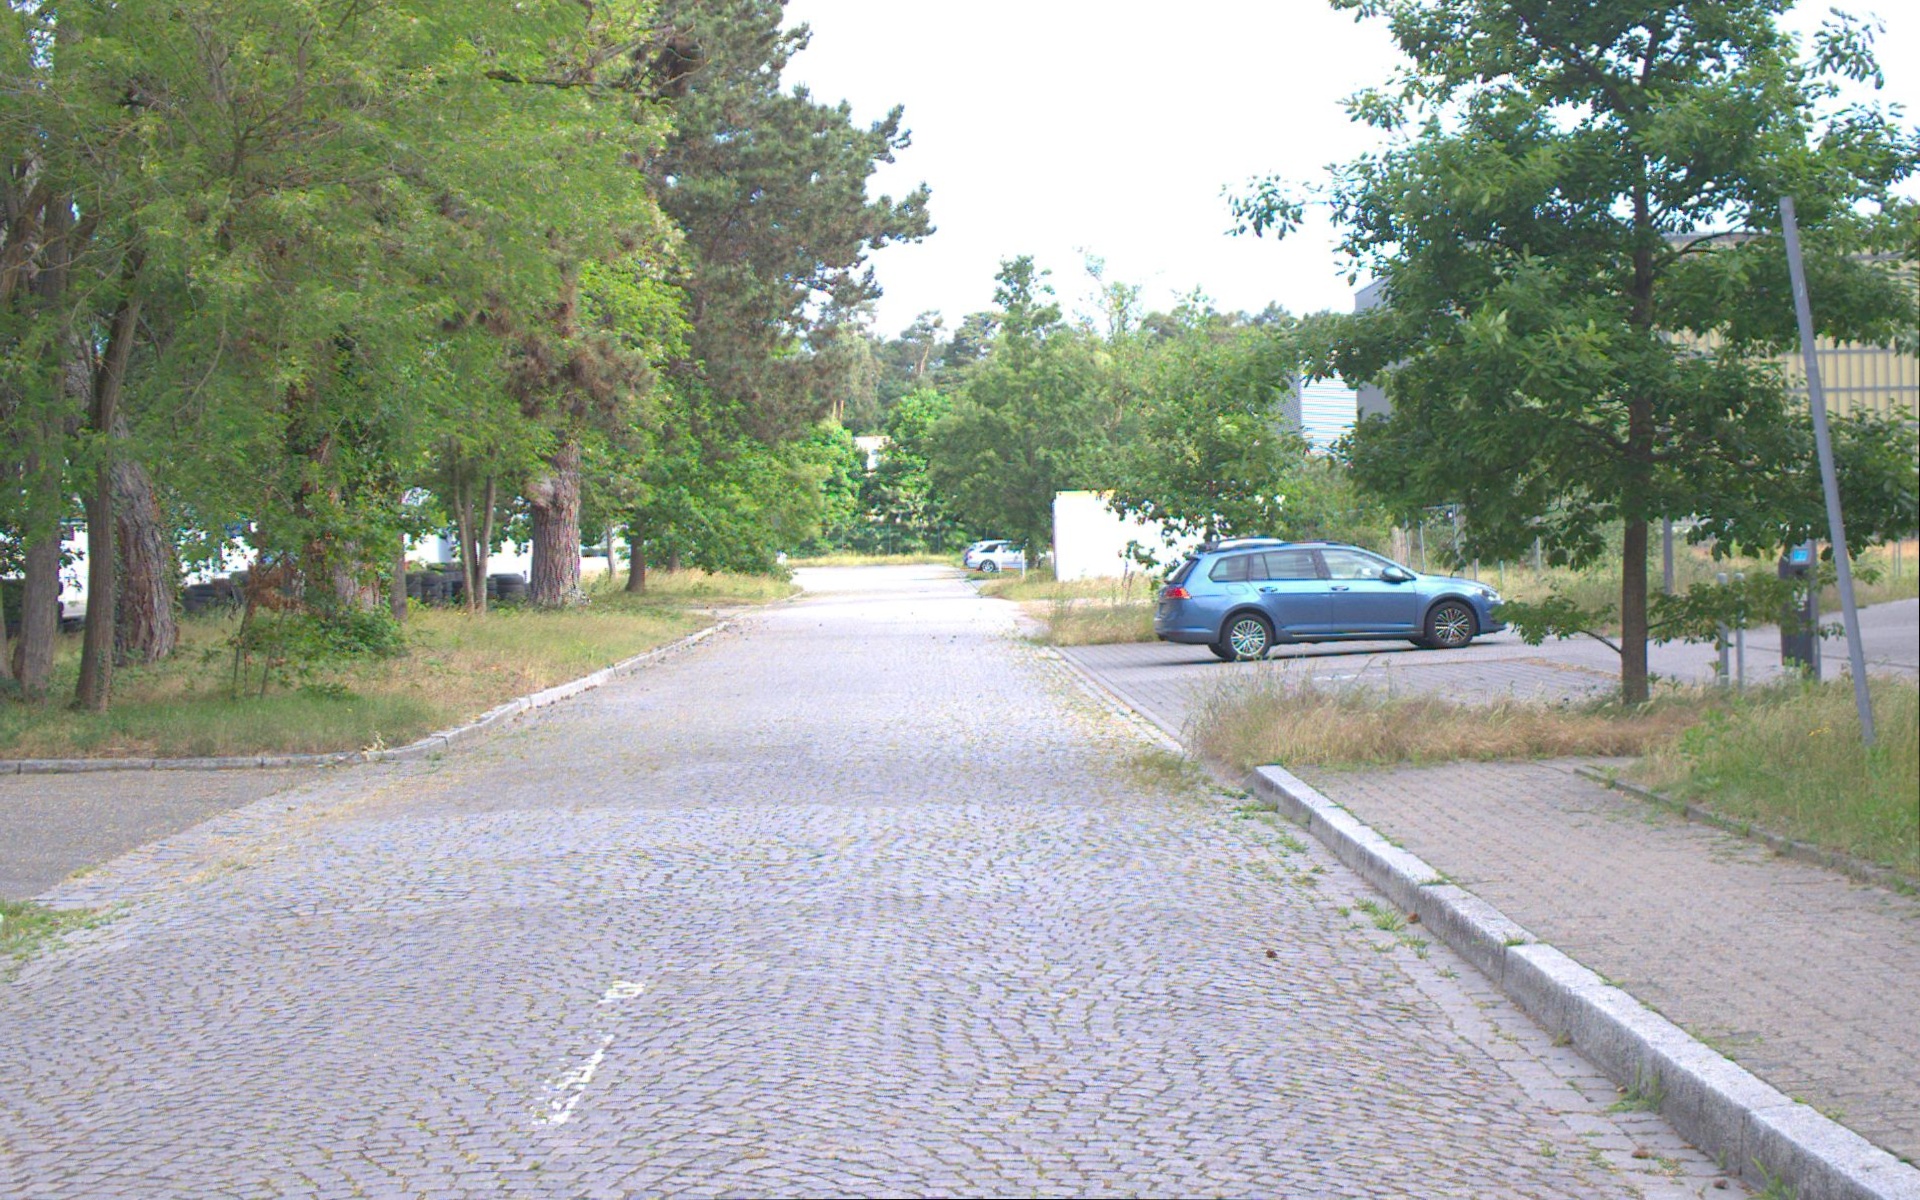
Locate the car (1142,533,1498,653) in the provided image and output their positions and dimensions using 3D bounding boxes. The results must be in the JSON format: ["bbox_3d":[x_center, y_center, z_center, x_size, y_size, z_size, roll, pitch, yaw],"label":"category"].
[{"bbox_3d":[4.646,-0.108,44.812,4.343,1.417,2.000,-1,1,-2],"label":"car"}]

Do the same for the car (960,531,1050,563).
[{"bbox_3d":[2.125,-2.483,161.864,3.986,1.393,2.000,-1,1,-6],"label":"car"}]
